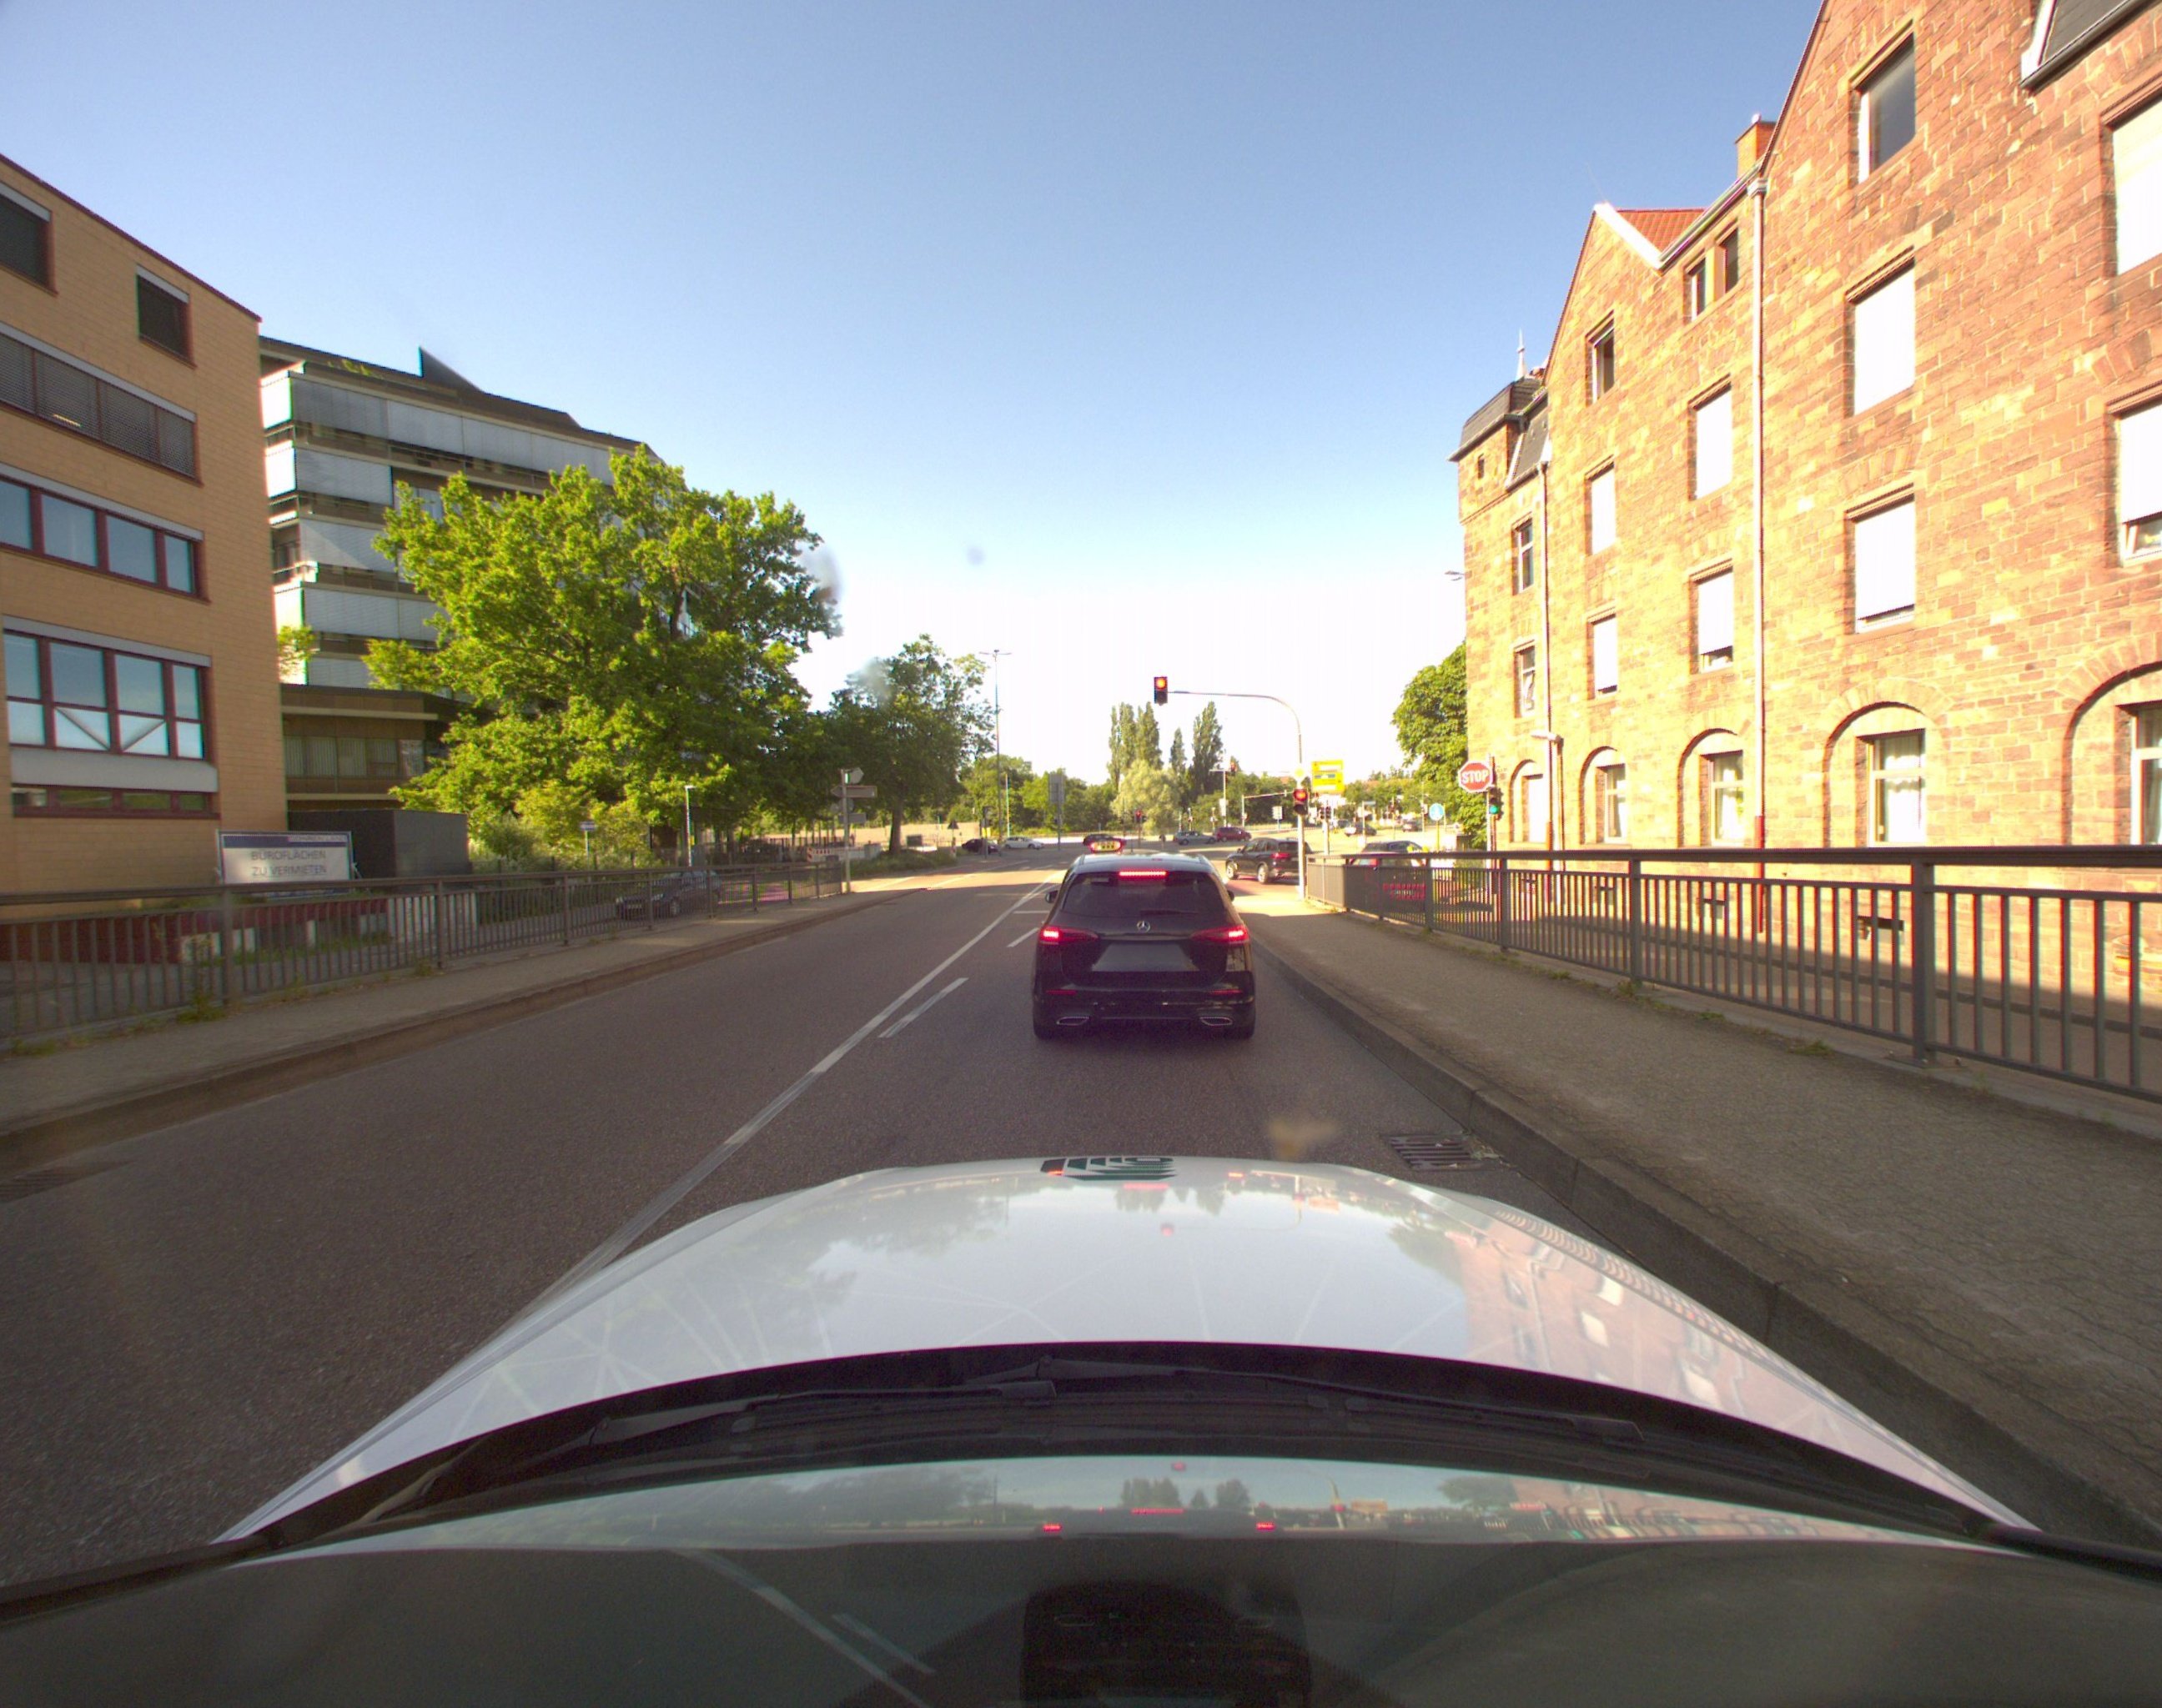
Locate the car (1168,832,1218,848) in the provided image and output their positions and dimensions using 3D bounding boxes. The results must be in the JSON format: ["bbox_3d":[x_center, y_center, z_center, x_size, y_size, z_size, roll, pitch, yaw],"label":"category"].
[{"bbox_3d":[11.118,-1.430,80.827,4.577,1.294,1.995,-3,2,-8],"label":"car"}]

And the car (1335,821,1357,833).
[{"bbox_3d":[38.768,-4.006,119.177,1.860,1.578,4.026,-1,2,38],"label":"car"}]

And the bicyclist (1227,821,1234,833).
[{"bbox_3d":[20.696,-3.745,112.625,0.520,1.551,0.812,-2,1,36],"label":"bicyclist"}]

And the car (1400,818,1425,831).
[{"bbox_3d":[41.969,-3.791,103.152,1.974,1.441,4.323,-1,3,35],"label":"car"}]

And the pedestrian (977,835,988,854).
[{"bbox_3d":[-8.302,-0.787,68.388,0.700,1.525,0.746,-1,1,12],"label":"pedestrian"}]

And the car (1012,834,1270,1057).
[{"bbox_3d":[0.501,0.650,7.947,1.871,1.613,4.002,0,0,2],"label":"car"}]

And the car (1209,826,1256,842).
[{"bbox_3d":[16.270,-2.147,87.443,4.543,1.455,1.991,-3,2,-14],"label":"car"}]

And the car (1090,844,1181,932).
[{"bbox_3d":[1.136,0.608,16.825,1.632,1.529,3.478,-2,1,4],"label":"car"}]

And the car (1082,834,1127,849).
[{"bbox_3d":[2.503,-1.344,85.263,4.556,1.294,1.890,-2,2,6],"label":"car"}]

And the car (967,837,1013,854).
[{"bbox_3d":[-8.142,-0.772,72.638,4.148,1.407,1.758,-1,2,45],"label":"car"}]

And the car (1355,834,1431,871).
[{"bbox_3d":[15.691,-0.111,40.836,4.320,1.603,1.707,-3,4,-40],"label":"car"}]

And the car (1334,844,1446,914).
[{"bbox_3d":[8.001,0.578,21.400,1.715,1.521,3.488,-2,3,2],"label":"car"}]

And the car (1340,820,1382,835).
[{"bbox_3d":[31.462,-2.930,91.364,4.844,1.441,1.979,-4,3,-35],"label":"car"}]

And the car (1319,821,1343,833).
[{"bbox_3d":[35.071,-3.758,114.104,1.860,1.578,4.026,-1,2,38],"label":"car"}]

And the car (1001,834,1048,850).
[{"bbox_3d":[-5.668,-1.249,82.015,4.265,1.365,2.010,-2,2,19],"label":"car"}]

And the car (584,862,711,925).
[{"bbox_3d":[-13.953,1.204,26.498,1.844,1.692,4.002,-2,2,2],"label":"car"}]

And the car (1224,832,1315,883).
[{"bbox_3d":[7.253,0.119,31.789,1.724,1.812,4.278,-2,0,-13],"label":"car"}]

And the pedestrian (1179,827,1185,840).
[{"bbox_3d":[12.979,-2.632,104.838,0.446,1.585,0.504,-2,1,42],"label":"pedestrian"}]
